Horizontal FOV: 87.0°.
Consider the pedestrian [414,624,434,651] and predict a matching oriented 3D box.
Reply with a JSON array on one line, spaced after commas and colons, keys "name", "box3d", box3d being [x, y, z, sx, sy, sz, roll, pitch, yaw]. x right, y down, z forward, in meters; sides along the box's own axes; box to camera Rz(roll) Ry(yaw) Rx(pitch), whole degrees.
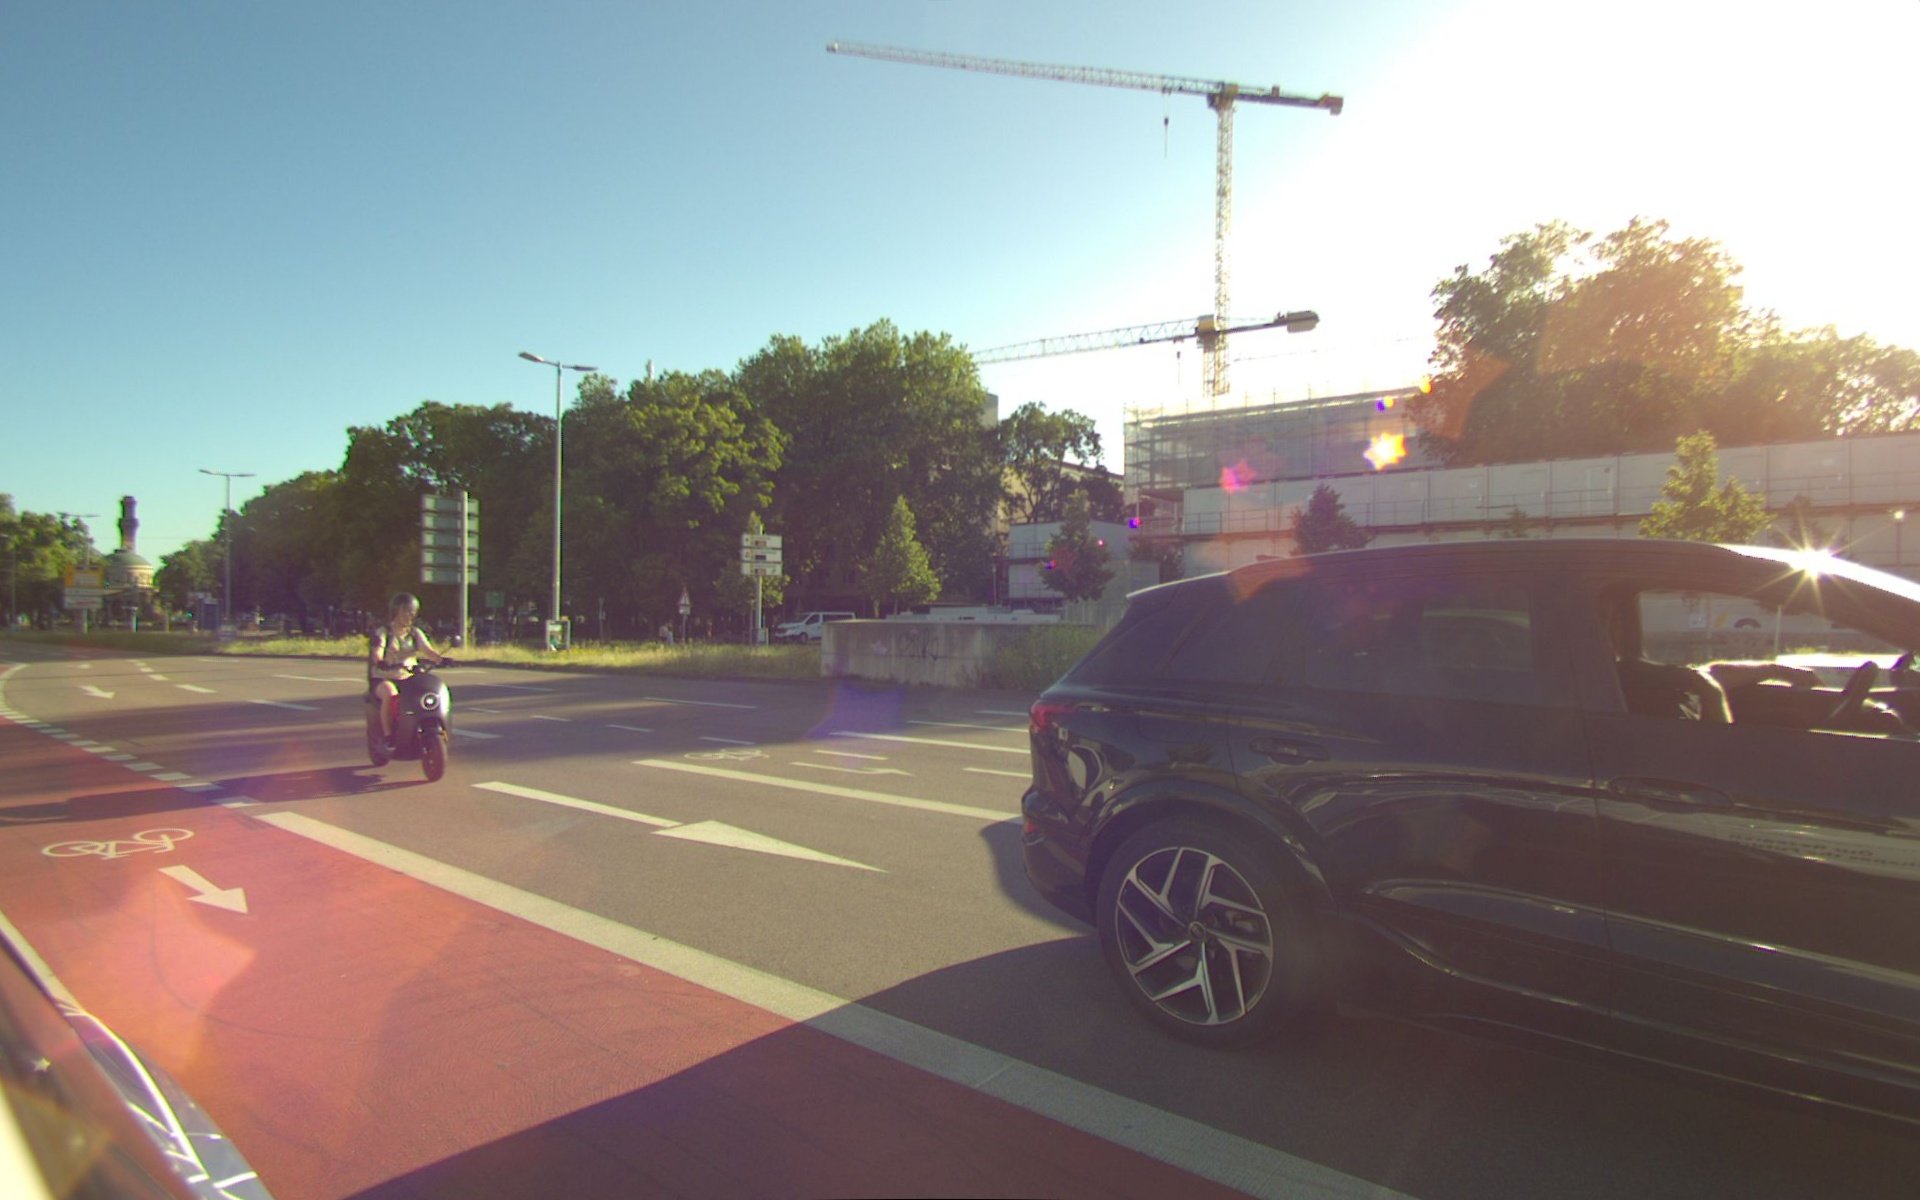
[{"name": "pedestrian", "box3d": [-40.104, 2.822, 75.723, 1.054, 1.978, 0.942, -1, 0, 26]}]

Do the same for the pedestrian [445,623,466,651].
[{"name": "pedestrian", "box3d": [-36.055, 2.620, 72.371, 0.815, 1.978, 1.111, -1, 0, 41]}]

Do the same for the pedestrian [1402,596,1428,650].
[{"name": "pedestrian", "box3d": [13.951, 0.696, 31.051, 0.597, 1.614, 0.580, -1, 0, 38]}]

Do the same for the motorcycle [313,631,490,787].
[{"name": "motorcycle", "box3d": [-5.210, 0.939, 9.396, 1.943, 1.290, 0.817, -1, -2, 41]}]

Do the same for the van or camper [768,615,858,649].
[{"name": "van or camper", "box3d": [-8.952, 1.931, 61.891, 1.951, 1.960, 5.425, -2, -2, 44]}]

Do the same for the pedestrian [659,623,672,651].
[{"name": "pedestrian", "box3d": [-16.191, 2.032, 55.727, 0.494, 1.522, 0.492, -1, -2, 41]}]

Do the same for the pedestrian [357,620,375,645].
[{"name": "pedestrian", "box3d": [-48.700, 2.679, 82.974, 0.945, 2.029, 0.839, -1, 0, 6]}]

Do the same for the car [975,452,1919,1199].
[{"name": "car", "box3d": [2.531, 0.551, 3.214, 4.659, 1.720, 2.144, -1, -1, 39]}]

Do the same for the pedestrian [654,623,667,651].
[{"name": "pedestrian", "box3d": [-16.320, 2.034, 55.186, 0.494, 1.522, 0.492, -1, -2, 41]}]

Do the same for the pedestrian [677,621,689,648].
[{"name": "pedestrian", "box3d": [-15.531, 1.940, 56.731, 0.494, 1.522, 0.492, -1, -2, 41]}]

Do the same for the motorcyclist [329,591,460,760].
[{"name": "motorcyclist", "box3d": [-5.275, 0.673, 9.443, 0.877, 1.475, 0.813, -1, -2, 41]}]
